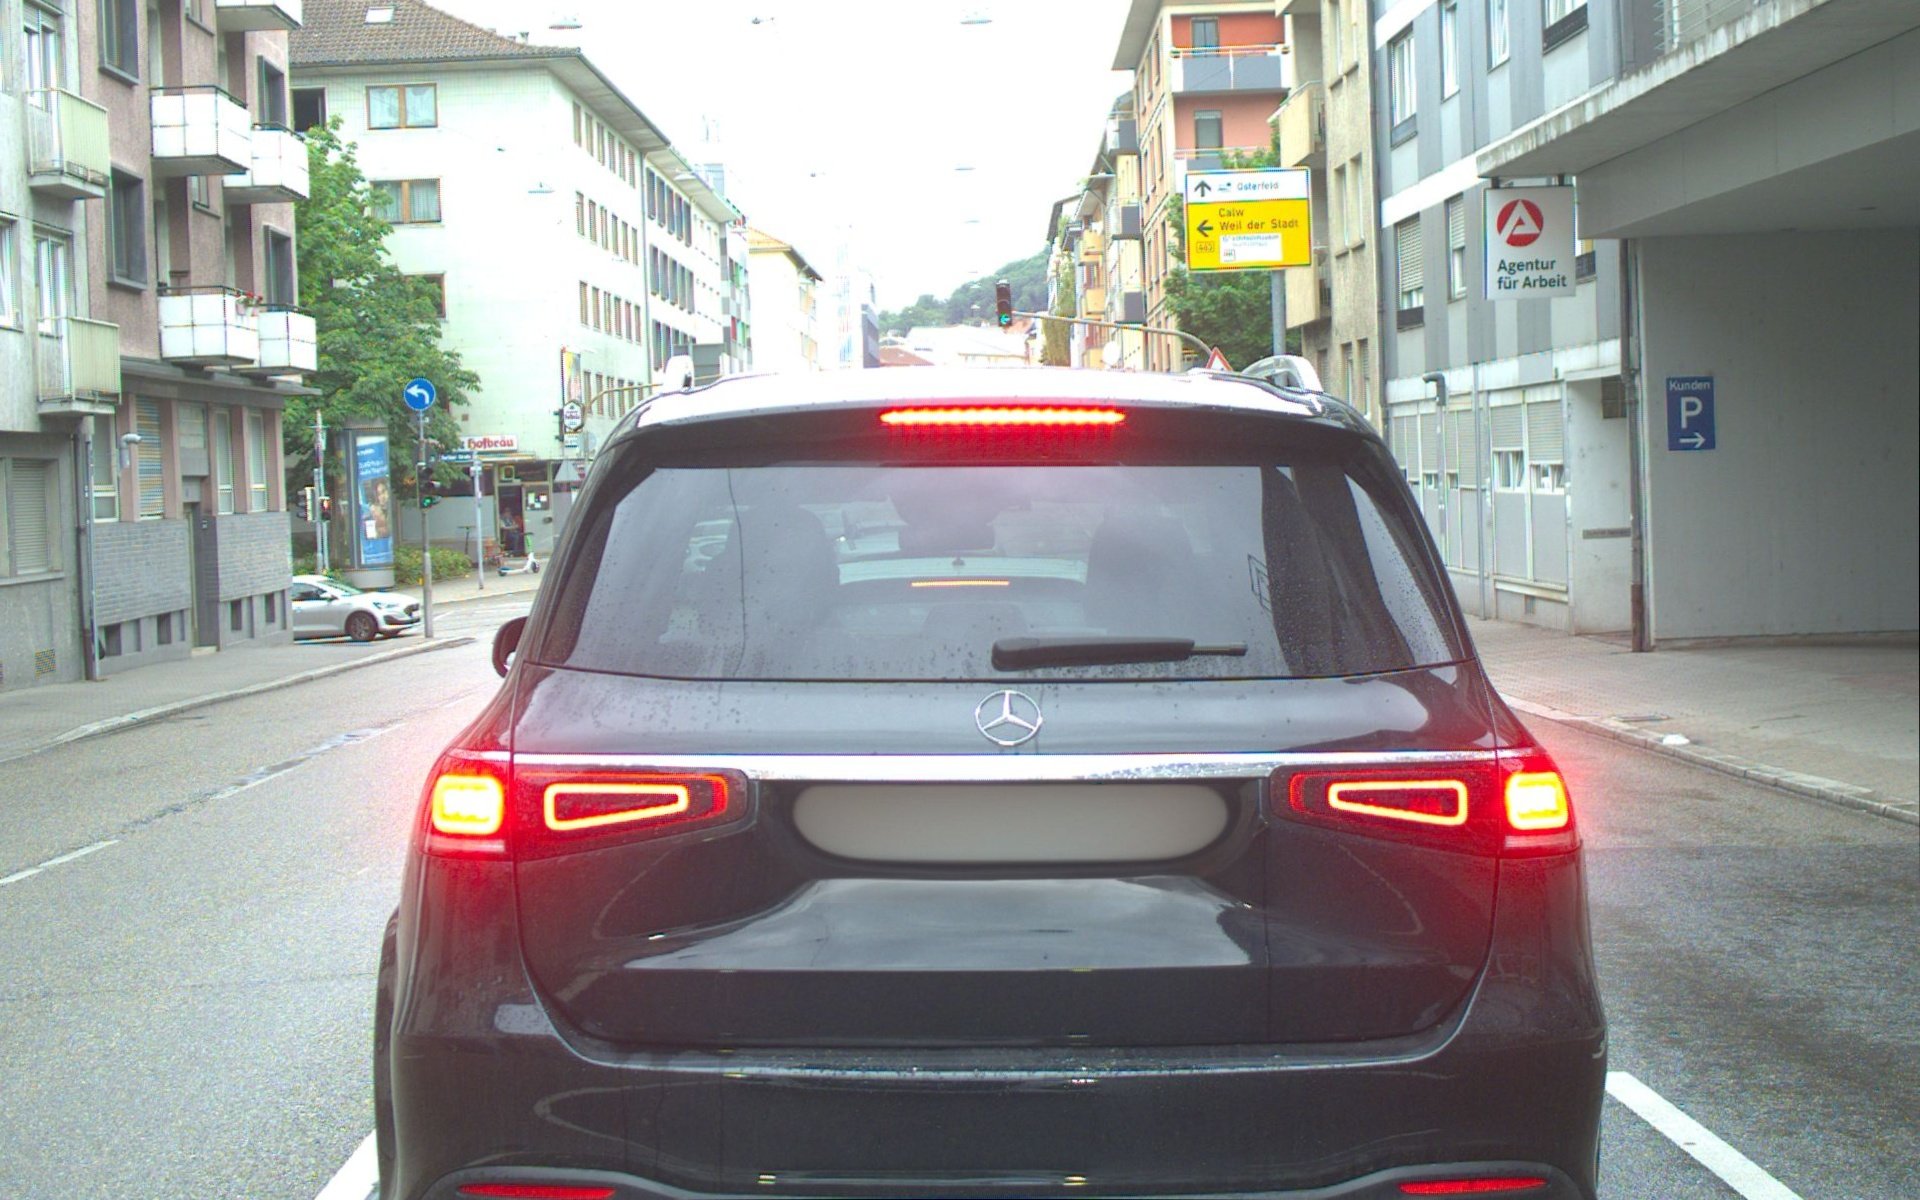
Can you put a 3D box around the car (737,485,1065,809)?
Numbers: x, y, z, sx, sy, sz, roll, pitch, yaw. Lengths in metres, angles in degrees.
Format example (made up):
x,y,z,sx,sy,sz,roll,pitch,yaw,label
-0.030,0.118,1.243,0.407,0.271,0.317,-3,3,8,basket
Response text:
x,y,z,sx,sy,sz,roll,pitch,yaw,label
-0.422,0.235,20.854,1.751,1.725,4.218,-1,1,-3,car

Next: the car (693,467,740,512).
x,y,z,sx,sy,sz,roll,pitch,yaw,label
-9.317,-4.202,131.608,1.618,1.534,4.218,-3,1,-3,car

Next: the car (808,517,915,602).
x,y,z,sx,sy,sz,roll,pitch,yaw,label
-1.979,-0.789,67.838,1.814,1.534,4.218,-3,1,-4,car

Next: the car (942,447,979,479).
x,y,z,sx,sy,sz,roll,pitch,yaw,label
0.011,-6.968,175.256,1.618,1.382,4.218,-3,1,-3,car

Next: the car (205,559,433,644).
x,y,z,sx,sy,sz,roll,pitch,yaw,label
-13.488,0.025,72.502,4.345,1.534,1.778,-3,1,3,car

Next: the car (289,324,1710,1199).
x,y,z,sx,sy,sz,roll,pitch,yaw,label
0.028,0.504,7.040,1.985,1.799,4.390,1,1,-1,car

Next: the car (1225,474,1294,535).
x,y,z,sx,sy,sz,roll,pitch,yaw,label
8.224,-2.624,94.589,1.671,1.583,3.330,-2,1,2,car

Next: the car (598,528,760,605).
x,y,z,sx,sy,sz,roll,pitch,yaw,label
-6.418,-0.745,78.088,1.618,1.534,4.216,-4,1,-36,car

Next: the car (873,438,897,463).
x,y,z,sx,sy,sz,roll,pitch,yaw,label
-5.465,-10.863,250.156,1.618,1.534,4.218,-3,1,-3,car

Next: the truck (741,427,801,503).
x,y,z,sx,sy,sz,roll,pitch,yaw,label
-8.610,-6.096,157.025,2.479,3.035,9.921,-3,1,-3,truck

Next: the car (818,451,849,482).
x,y,z,sx,sy,sz,roll,pitch,yaw,label
-7.141,-7.486,193.653,1.618,1.534,4.218,-3,1,-3,car

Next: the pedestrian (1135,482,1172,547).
x,y,z,sx,sy,sz,roll,pitch,yaw,label
5.471,-2.432,97.366,0.923,1.798,0.706,-2,1,-2,pedestrian

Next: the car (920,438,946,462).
x,y,z,sx,sy,sz,roll,pitch,yaw,label
-1.945,-10.854,248.714,1.618,1.534,4.218,-3,1,-3,car

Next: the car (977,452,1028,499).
x,y,z,sx,sy,sz,roll,pitch,yaw,label
1.710,-5.043,139.350,1.723,1.753,4.218,-3,2,-3,car

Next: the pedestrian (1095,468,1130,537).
x,y,z,sx,sy,sz,roll,pitch,yaw,label
4.565,-2.915,102.731,0.923,2.007,0.706,-2,1,-2,pedestrian

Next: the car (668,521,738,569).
x,y,z,sx,sy,sz,roll,pitch,yaw,label
-7.532,-1.605,100.962,1.885,1.260,4.218,-3,1,-3,car

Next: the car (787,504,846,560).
x,y,z,sx,sy,sz,roll,pitch,yaw,label
-4.228,-1.988,101.239,1.618,1.534,4.218,-3,1,-3,car

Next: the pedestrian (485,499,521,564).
x,y,z,sx,sy,sz,roll,pitch,yaw,label
-13.556,-2.031,101.902,0.923,1.895,0.706,-2,1,-2,pedestrian
